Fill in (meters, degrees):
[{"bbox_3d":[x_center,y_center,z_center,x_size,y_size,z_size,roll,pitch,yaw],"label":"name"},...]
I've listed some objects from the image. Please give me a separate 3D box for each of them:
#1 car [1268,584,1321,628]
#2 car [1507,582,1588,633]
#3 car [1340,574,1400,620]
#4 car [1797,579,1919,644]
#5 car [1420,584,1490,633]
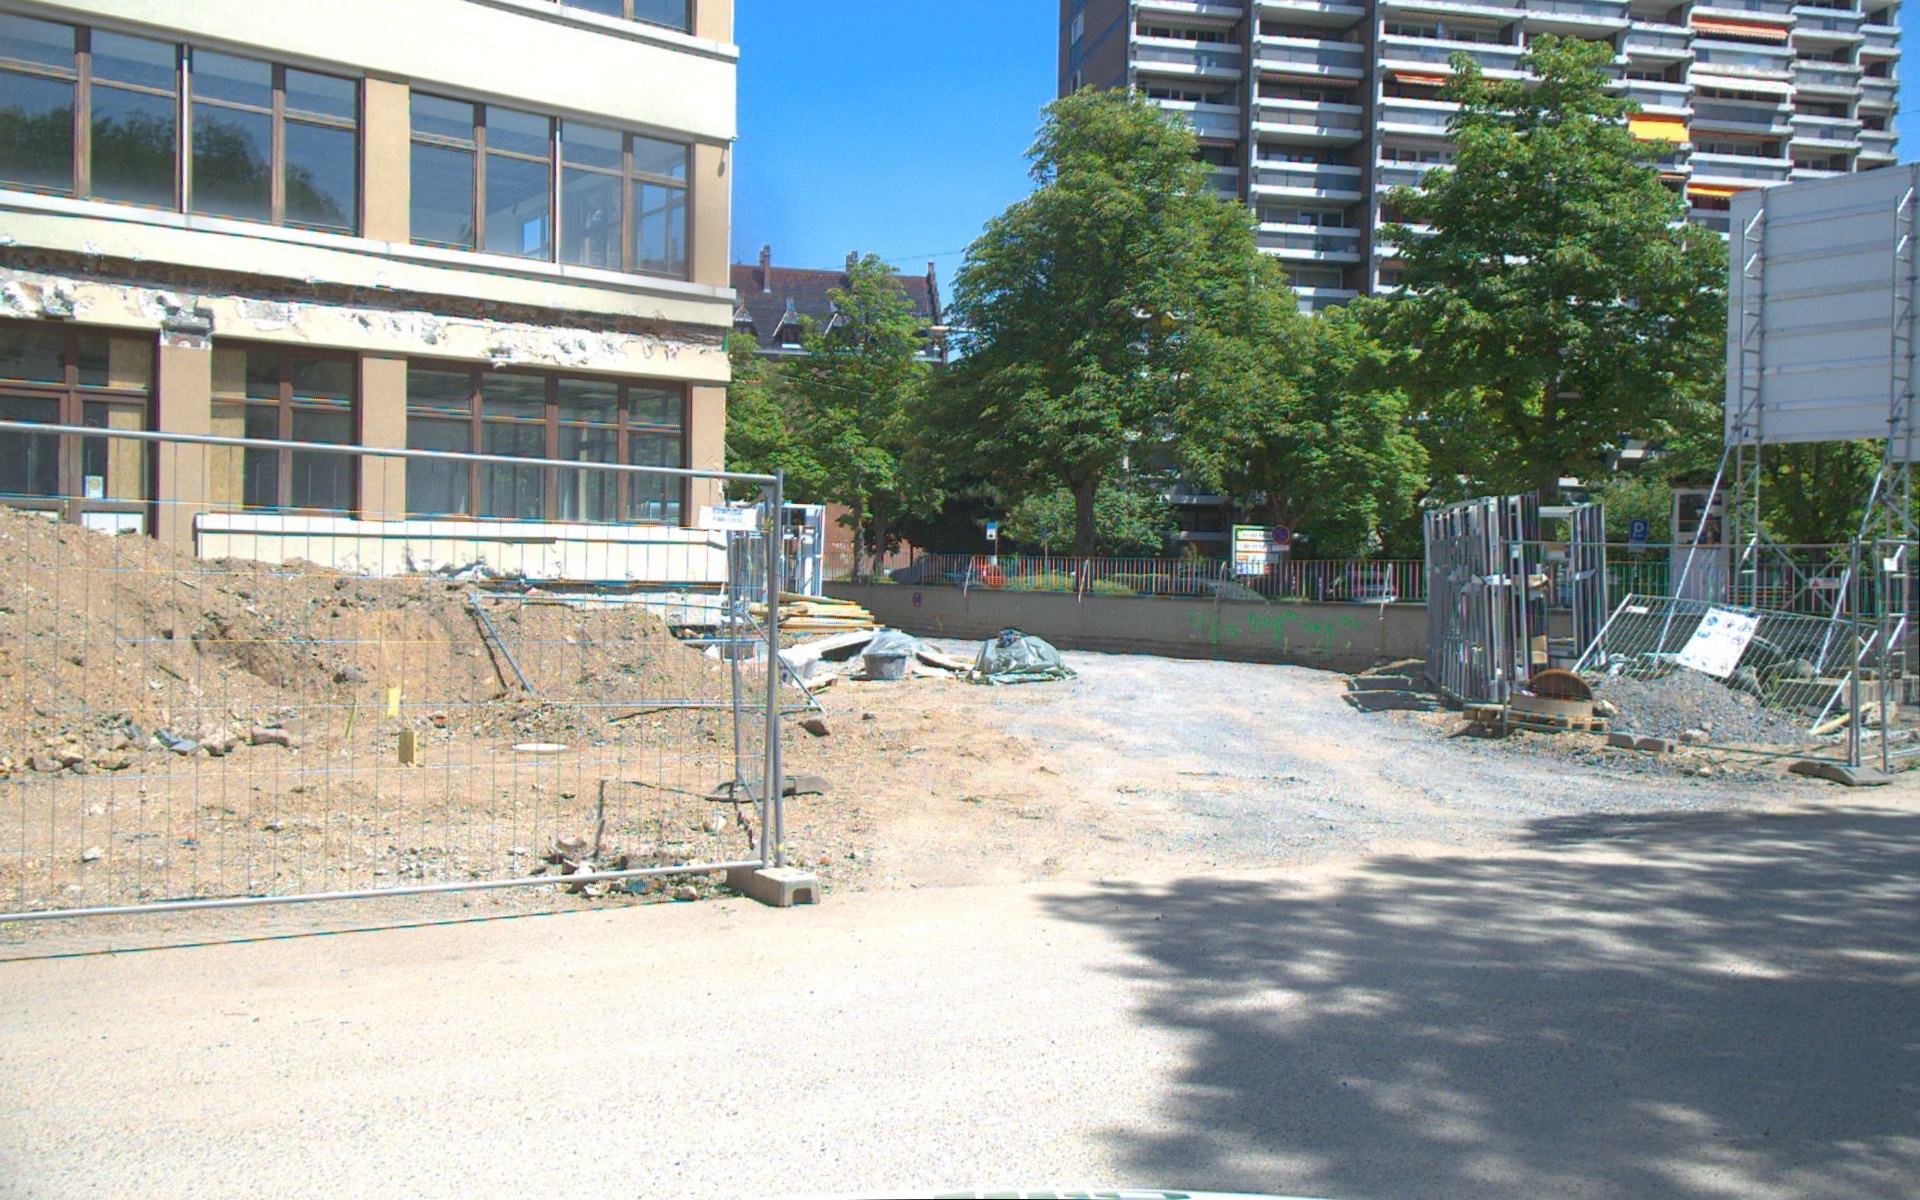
[{"bbox_3d":[11.127,0.168,55.164,1.598,1.411,3.681,1,1,10],"label":"car"},{"bbox_3d":[17.098,0.180,48.281,1.598,1.411,3.681,1,1,10],"label":"car"},{"bbox_3d":[13.311,-0.113,53.829,1.598,1.411,3.681,1,1,10],"label":"car"},{"bbox_3d":[22.160,0.254,40.551,1.599,1.489,3.680,1,1,4],"label":"car"},{"bbox_3d":[15.245,0.235,51.091,1.598,1.411,3.681,1,1,10],"label":"car"}]
